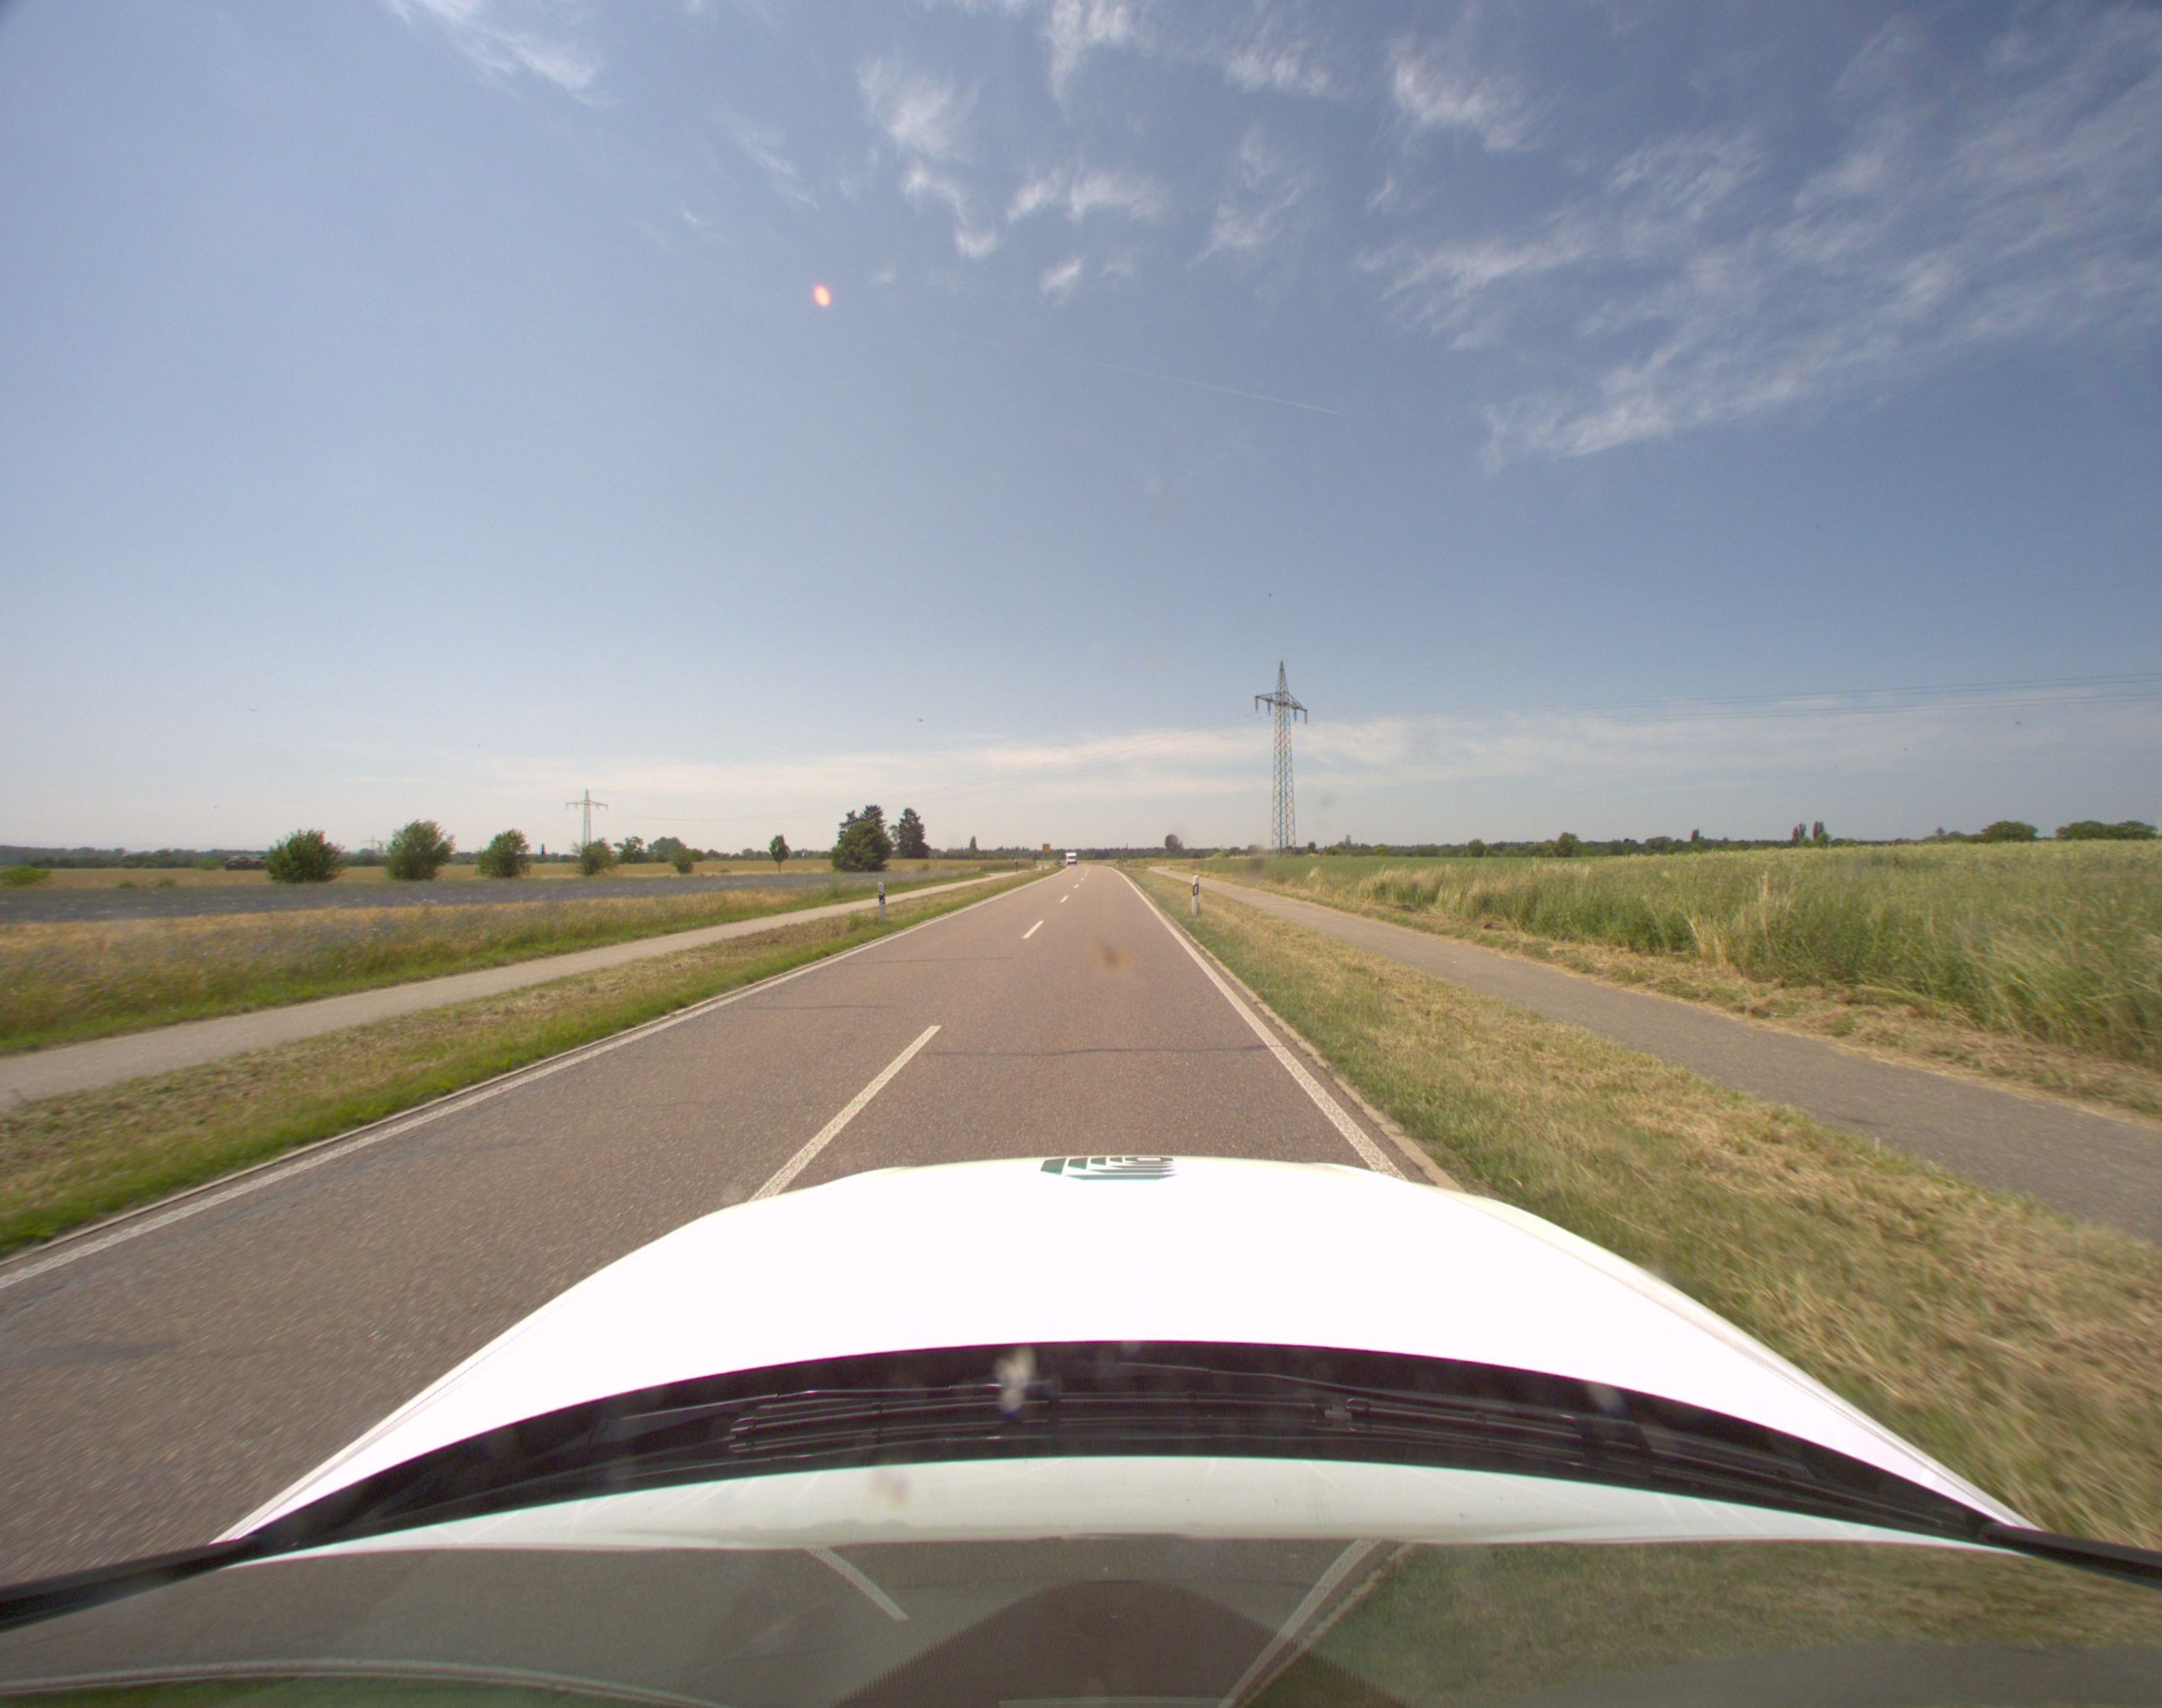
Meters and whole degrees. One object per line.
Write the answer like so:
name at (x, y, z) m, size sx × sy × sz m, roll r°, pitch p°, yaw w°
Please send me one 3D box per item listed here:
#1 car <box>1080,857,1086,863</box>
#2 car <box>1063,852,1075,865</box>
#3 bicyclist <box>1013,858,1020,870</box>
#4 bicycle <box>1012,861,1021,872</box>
car at (0.513, 1.695, 217.521) m, size 1.618 × 1.491 × 3.999 m, roll -1°, pitch 0°, yaw 0°
car at (-2.578, 1.059, 183.005) m, size 2.388 × 2.847 × 7.629 m, roll -1°, pitch 0°, yaw 1°
bicyclist at (-7.304, 1.156, 92.410) m, size 0.699 × 1.331 × 0.965 m, roll -1°, pitch -1°, yaw 1°
bicycle at (-7.286, 1.433, 92.445) m, size 0.760 × 1.229 × 2.216 m, roll -1°, pitch 0°, yaw 1°
